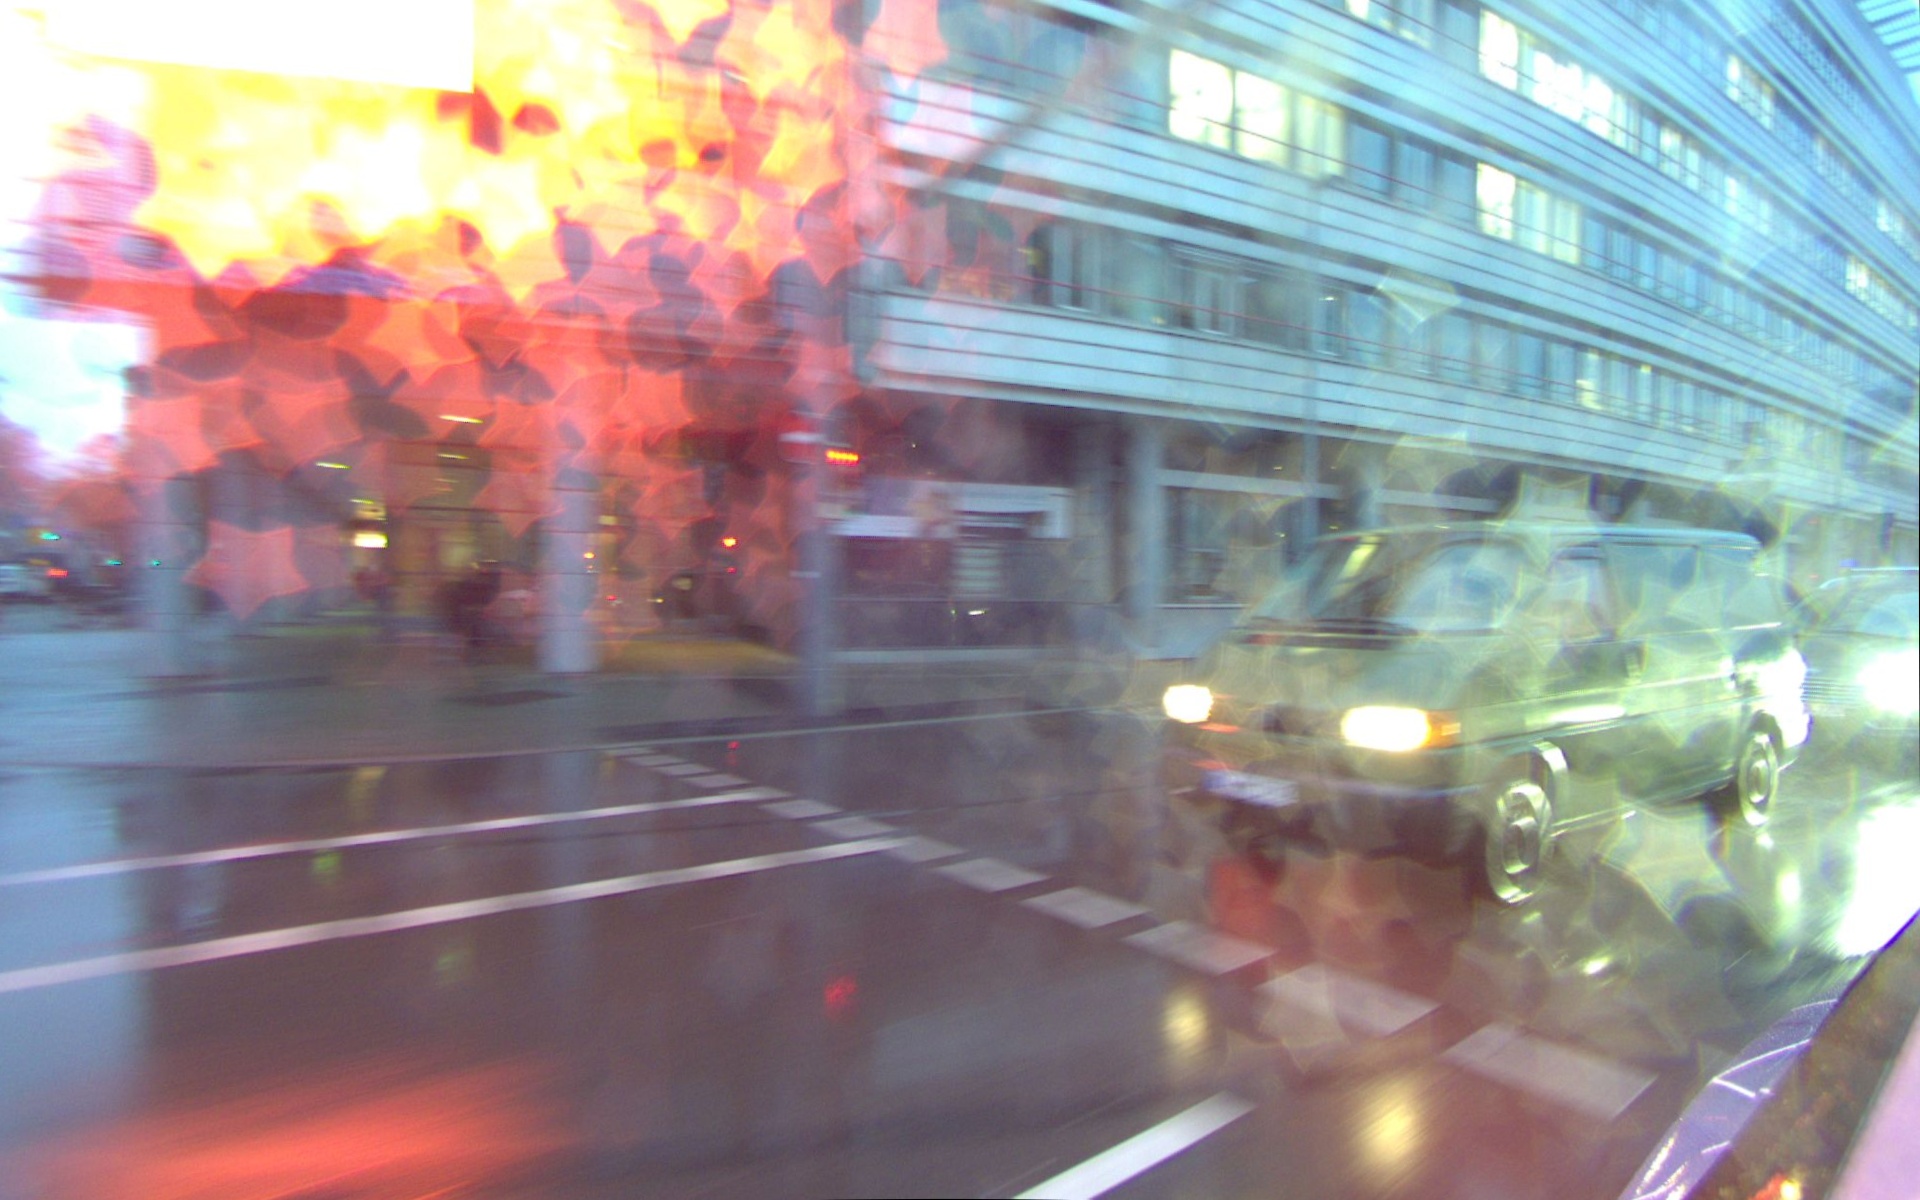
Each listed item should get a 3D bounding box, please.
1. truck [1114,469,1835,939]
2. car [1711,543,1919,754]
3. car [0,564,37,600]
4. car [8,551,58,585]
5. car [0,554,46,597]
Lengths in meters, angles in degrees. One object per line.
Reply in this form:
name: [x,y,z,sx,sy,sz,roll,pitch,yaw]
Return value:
truck: [3.303,0.425,6.221,4.526,1.941,1.911,0,-1,-33]
car: [10.043,0.420,10.592,4.596,1.842,1.912,0,-1,-31]
car: [-40.992,-0.797,43.328,1.809,1.450,3.999,-1,2,-37]
car: [-55.052,-1.911,60.149,1.809,1.975,3.999,-1,2,-37]
car: [-44.566,-1.177,47.689,1.809,1.975,3.999,-1,2,-37]
